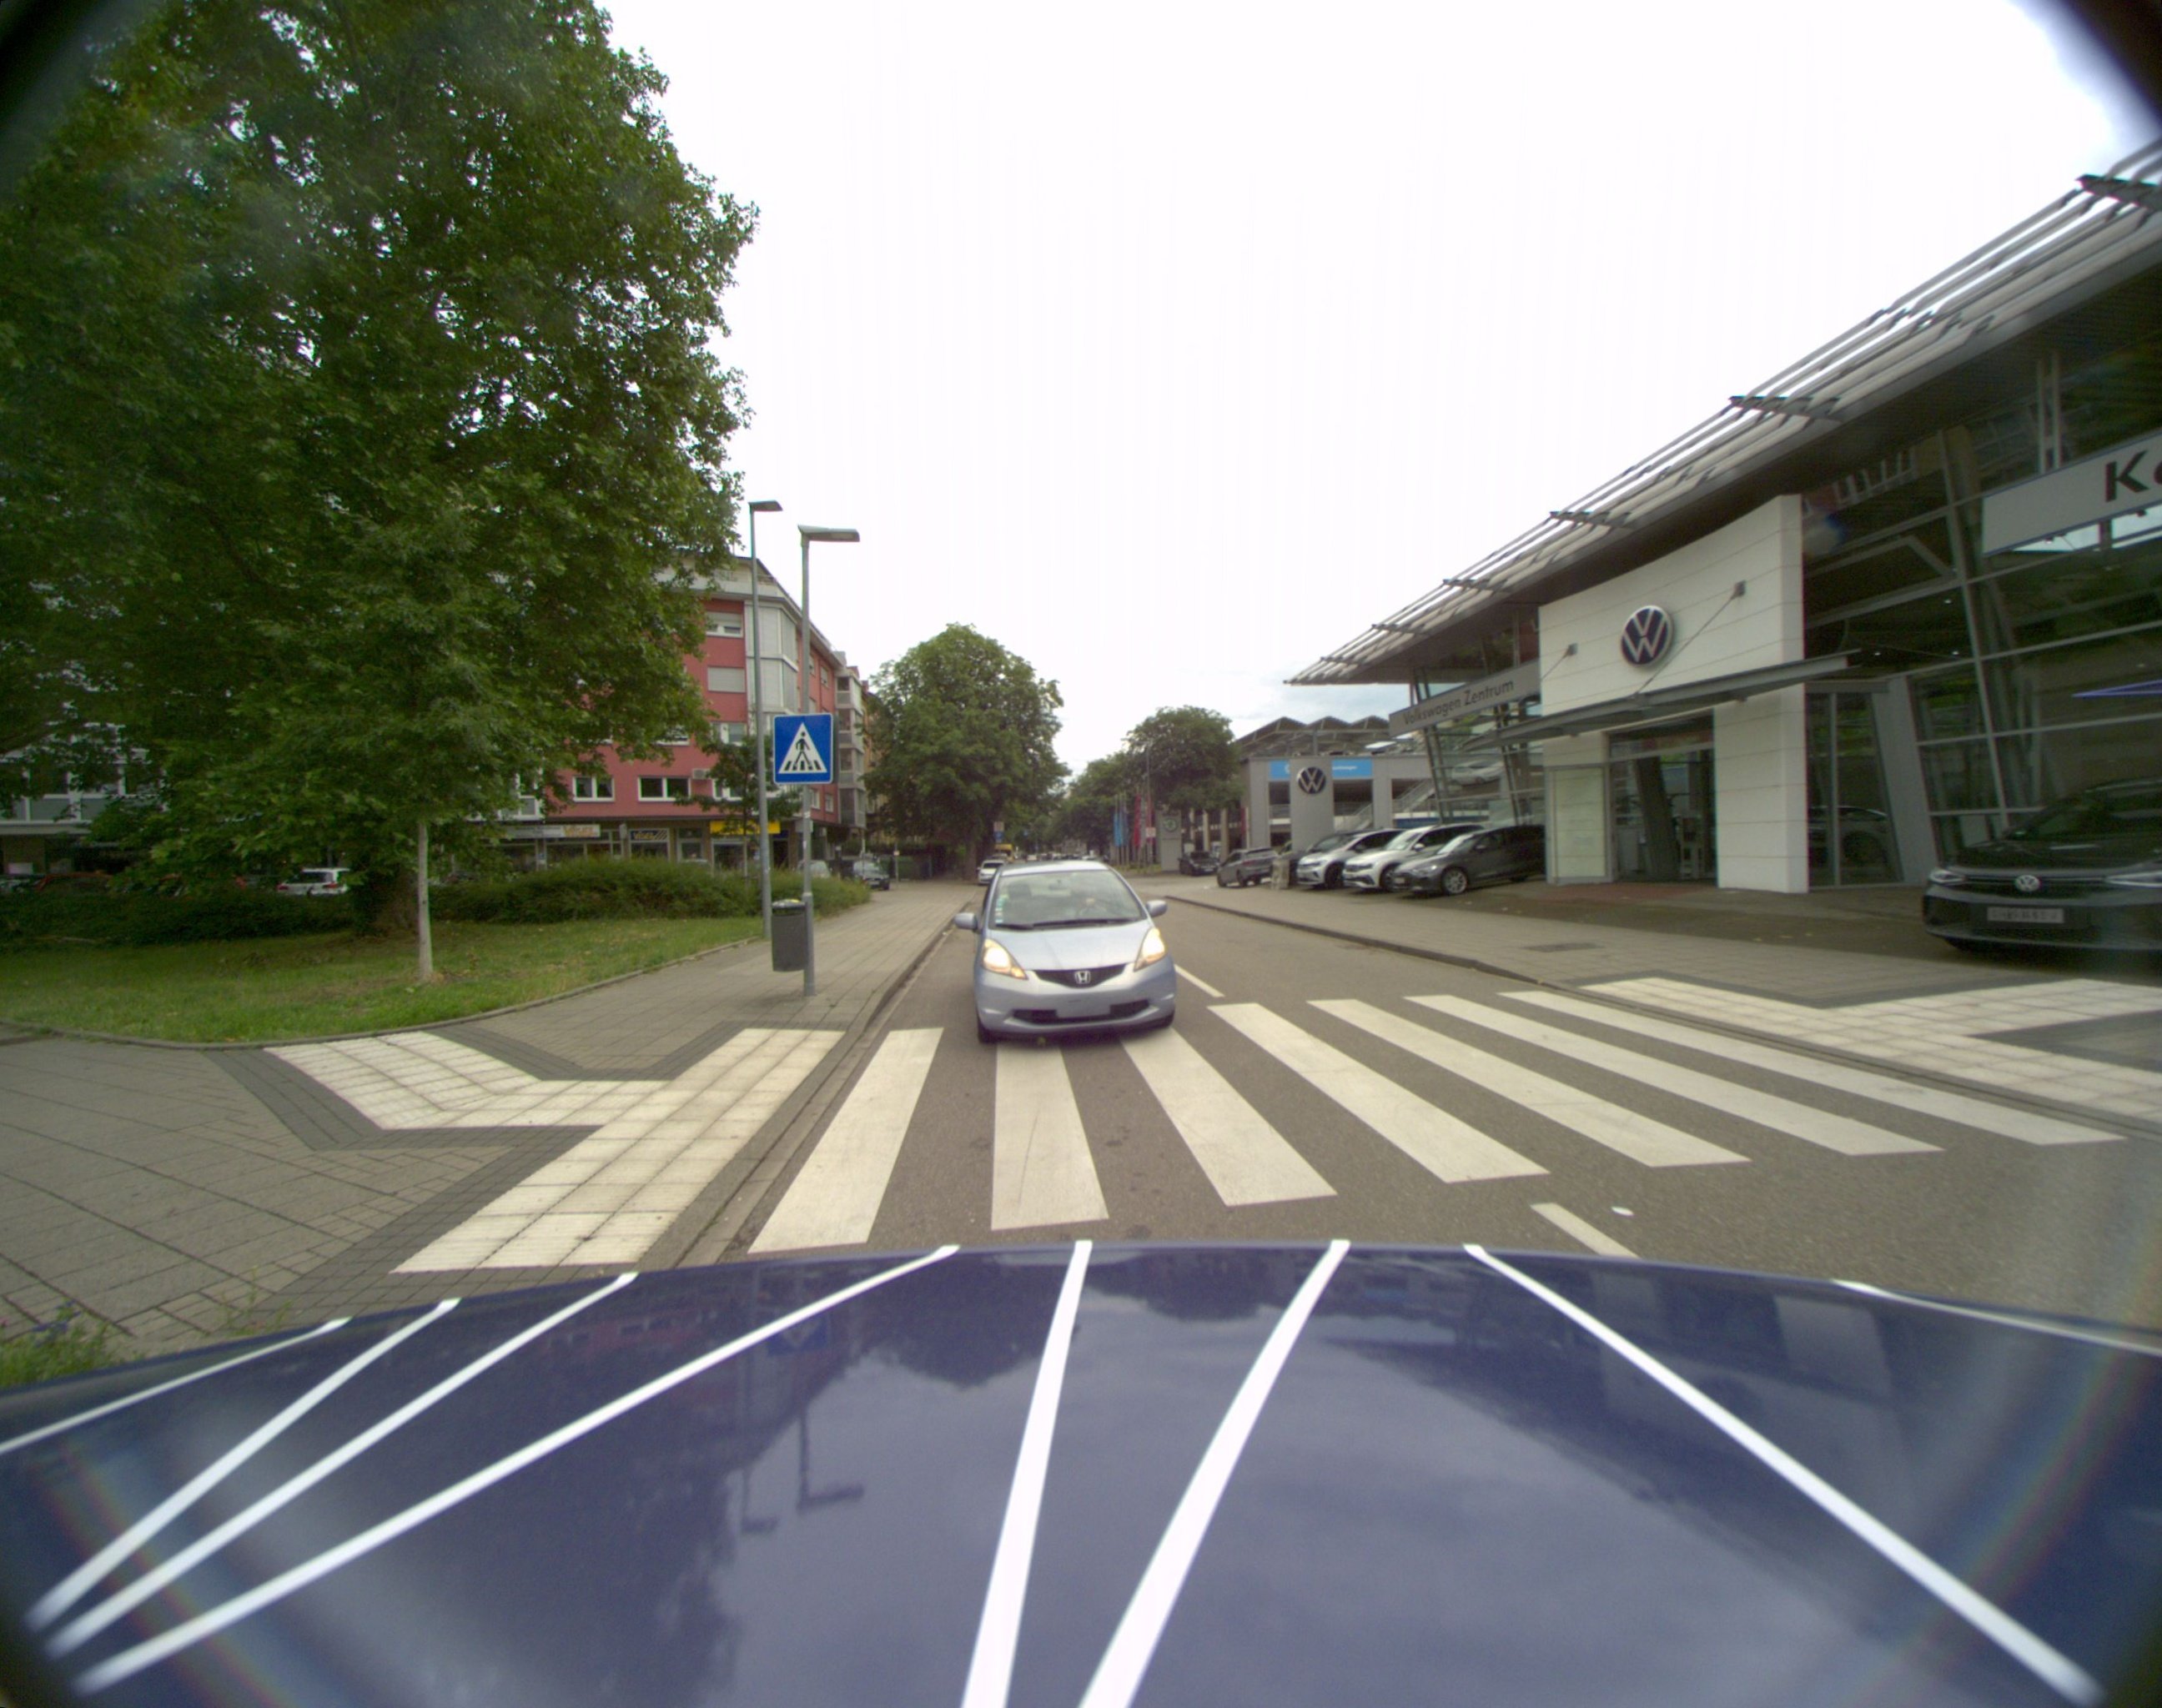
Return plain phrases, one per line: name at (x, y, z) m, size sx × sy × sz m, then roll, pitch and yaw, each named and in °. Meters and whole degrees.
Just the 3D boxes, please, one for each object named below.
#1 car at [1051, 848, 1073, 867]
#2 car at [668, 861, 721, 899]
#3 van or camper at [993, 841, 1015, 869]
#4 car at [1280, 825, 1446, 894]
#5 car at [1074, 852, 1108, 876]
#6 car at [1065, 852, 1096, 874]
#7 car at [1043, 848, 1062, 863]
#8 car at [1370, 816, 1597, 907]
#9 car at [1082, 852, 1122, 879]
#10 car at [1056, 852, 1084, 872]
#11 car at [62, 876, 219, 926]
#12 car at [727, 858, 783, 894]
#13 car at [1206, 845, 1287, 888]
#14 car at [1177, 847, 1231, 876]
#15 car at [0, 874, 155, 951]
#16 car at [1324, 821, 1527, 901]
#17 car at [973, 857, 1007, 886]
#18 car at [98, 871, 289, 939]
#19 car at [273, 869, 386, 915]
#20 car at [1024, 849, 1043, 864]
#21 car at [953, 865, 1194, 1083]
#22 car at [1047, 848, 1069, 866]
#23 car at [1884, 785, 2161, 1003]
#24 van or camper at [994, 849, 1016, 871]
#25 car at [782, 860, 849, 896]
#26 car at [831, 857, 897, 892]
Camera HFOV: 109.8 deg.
car at (-2.148, 0.337, 85.118) m, size 1.861 × 1.974 × 4.472 m, roll -3°, pitch 1°, yaw -8°
car at (-17.574, 1.120, 34.439) m, size 1.864 × 1.539 × 4.465 m, roll -2°, pitch 0°, yaw -30°
van or camper at (-7.788, 0.076, 76.963) m, size 1.999 × 2.756 × 3.998 m, roll -2°, pitch 0°, yaw -5°
car at (8.892, 0.174, 24.142) m, size 4.474 × 1.689 × 1.869 m, roll -5°, pitch 0°, yaw -6°
car at (0.728, 0.715, 57.574) m, size 1.861 × 1.614 × 4.472 m, roll -3°, pitch 1°, yaw -8°
car at (-0.089, 0.696, 62.753) m, size 1.861 × 1.614 × 4.472 m, roll -3°, pitch 1°, yaw -8°
car at (-3.966, 0.174, 105.667) m, size 2.023 × 1.974 × 4.779 m, roll -3°, pitch 1°, yaw -8°
car at (9.651, 0.165, 18.423) m, size 4.474 × 1.687 × 1.896 m, roll -5°, pitch 0°, yaw -7°
car at (1.383, 0.753, 51.771) m, size 1.861 × 1.614 × 4.472 m, roll -3°, pitch 1°, yaw -8°
car at (-1.019, 0.686, 67.589) m, size 1.861 × 1.614 × 4.472 m, roll -3°, pitch 1°, yaw -8°
car at (-33.008, 1.576, 26.863) m, size 1.864 × 1.481 × 4.465 m, roll -2°, pitch 0°, yaw -29°
car at (-15.400, 0.984, 35.727) m, size 1.864 × 1.539 × 4.465 m, roll -2°, pitch 0°, yaw -30°
car at (6.737, 0.483, 31.324) m, size 1.919 × 1.554 × 4.012 m, roll -3°, pitch 0°, yaw -8°
car at (7.380, 0.407, 46.133) m, size 1.898 × 1.539 × 4.472 m, roll -3°, pitch 1°, yaw -8°
car at (-26.273, 1.424, 19.316) m, size 1.864 × 1.712 × 4.465 m, roll -2°, pitch 0°, yaw -29°
car at (9.500, 0.177, 21.148) m, size 4.774 × 1.689 × 1.860 m, roll -5°, pitch 0°, yaw -6°
car at (-5.288, 0.989, 44.540) m, size 1.861 × 1.539 × 4.472 m, roll 0°, pitch 1°, yaw -6°
car at (-23.852, 1.277, 20.679) m, size 1.864 × 1.539 × 4.465 m, roll -2°, pitch 0°, yaw -29°
car at (-28.872, 1.392, 29.368) m, size 1.864 × 1.539 × 4.465 m, roll -2°, pitch 0°, yaw -29°
car at (-6.509, 0.330, 103.955) m, size 2.023 × 1.974 × 4.779 m, roll -3°, pitch 1°, yaw -8°
car at (-0.292, 0.928, 7.784) m, size 1.754 × 1.458 × 4.095 m, roll -3°, pitch 0°, yaw -7°
car at (-2.824, 0.304, 90.825) m, size 2.023 × 1.974 × 4.779 m, roll -3°, pitch 1°, yaw -8°
car at (10.632, 0.191, 7.289) m, size 4.510 × 1.623 × 1.859 m, roll -5°, pitch 0°, yaw -12°
van or camper at (-7.216, 0.565, 72.240) m, size 1.999 × 2.002 × 3.998 m, roll -2°, pitch 0°, yaw -5°
car at (-13.064, 1.104, 37.220) m, size 1.864 × 1.539 × 4.463 m, roll -3°, pitch 2°, yaw -35°
car at (-10.885, 0.980, 37.948) m, size 1.864 × 1.539 × 4.464 m, roll -3°, pitch 2°, yaw -33°
